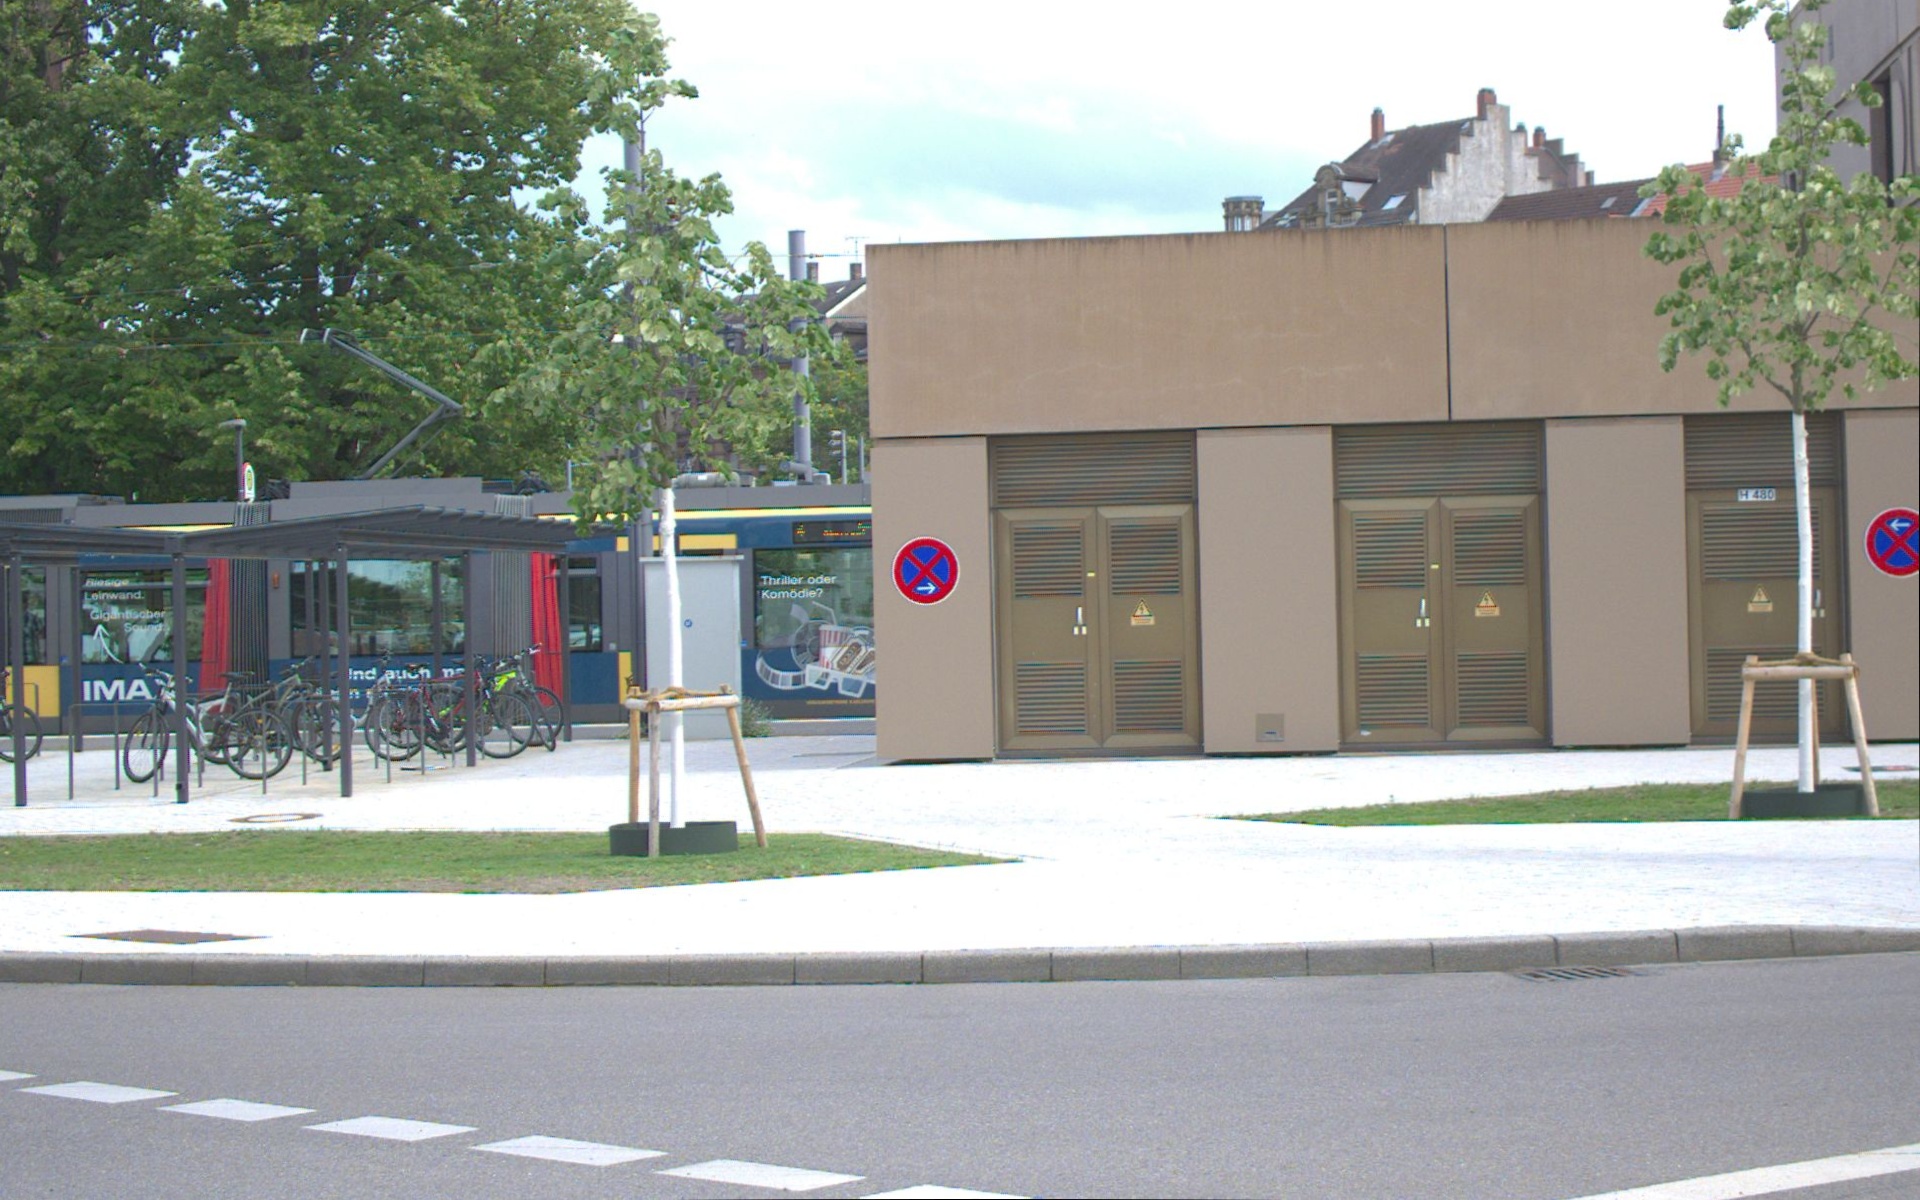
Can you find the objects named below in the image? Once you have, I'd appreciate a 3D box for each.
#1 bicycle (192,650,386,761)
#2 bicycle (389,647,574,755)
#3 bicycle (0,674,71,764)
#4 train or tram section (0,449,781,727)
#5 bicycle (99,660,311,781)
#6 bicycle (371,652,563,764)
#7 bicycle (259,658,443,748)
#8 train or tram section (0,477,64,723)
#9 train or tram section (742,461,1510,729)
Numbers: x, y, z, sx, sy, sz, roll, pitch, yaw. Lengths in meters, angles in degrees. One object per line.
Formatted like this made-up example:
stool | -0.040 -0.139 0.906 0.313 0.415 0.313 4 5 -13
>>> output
bicycle | -7.128 1.119 36.559 1.960 1.152 0.584 0 1 -3
bicycle | -5.238 1.103 37.719 1.960 1.152 0.584 0 1 -3
bicycle | -10.895 1.309 38.063 1.960 0.952 0.584 0 1 3
train or tram section | -7.483 -0.205 44.982 9.900 3.438 3.062 0 1 6
bicycle | -7.409 1.178 33.786 1.960 1.152 0.584 0 1 -3
bicycle | -5.189 1.135 36.263 1.960 1.152 0.584 0 1 -3
bicycle | -6.886 1.162 38.904 1.960 0.967 0.584 0 1 3
train or tram section | -17.092 -0.049 46.030 9.401 3.202 3.062 0 1 6
train or tram section | 2.152 -0.114 43.961 9.473 3.235 3.062 0 1 6
